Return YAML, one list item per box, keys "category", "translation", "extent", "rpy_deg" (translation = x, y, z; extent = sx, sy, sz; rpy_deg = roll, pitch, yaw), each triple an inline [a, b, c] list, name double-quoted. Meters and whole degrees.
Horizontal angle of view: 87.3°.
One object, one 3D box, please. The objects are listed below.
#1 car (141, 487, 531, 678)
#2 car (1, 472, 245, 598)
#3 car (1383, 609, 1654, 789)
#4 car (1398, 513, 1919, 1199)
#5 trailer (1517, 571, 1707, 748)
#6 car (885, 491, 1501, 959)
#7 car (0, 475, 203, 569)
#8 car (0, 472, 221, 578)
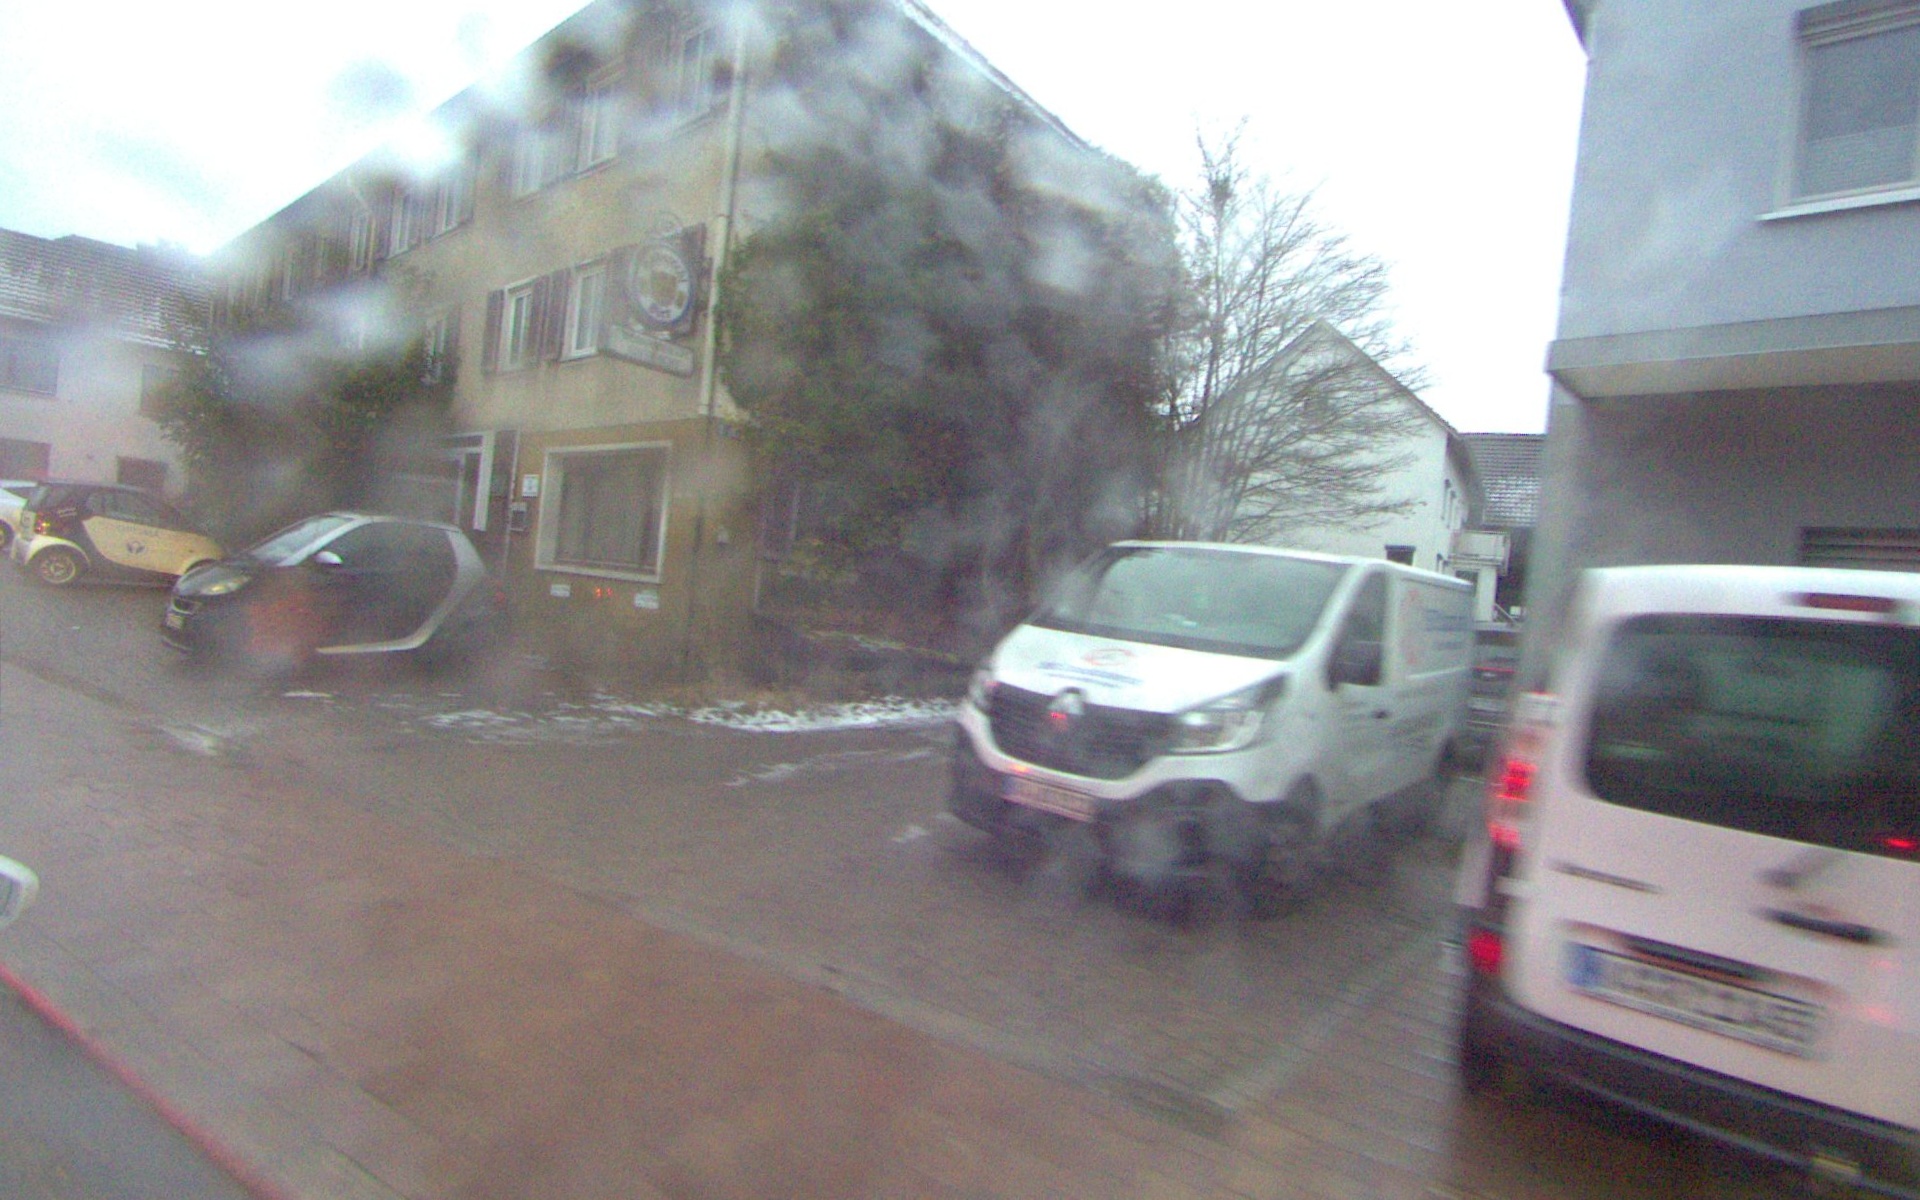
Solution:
- category: "car"
  translation: [-5.791, -0.106, 9.523]
  extent: [1.406, 1.493, 2.759]
  rpy_deg: [7, 1, 39]
- category: "car"
  translation: [-12.832, -0.960, 15.492]
  extent: [1.528, 1.567, 2.579]
  rpy_deg: [8, 2, 39]
- category: "car"
  translation: [6.854, 1.071, 12.153]
  extent: [1.855, 1.644, 3.975]
  rpy_deg: [7, 3, 42]
- category: "car"
  translation: [3.235, 0.851, 4.044]
  extent: [1.834, 1.867, 4.041]
  rpy_deg: [7, 2, 34]
- category: "trailer"
  translation: [11.117, 0.900, 17.048]
  extent: [1.815, 2.553, 3.972]
  rpy_deg: [7, 4, 43]
- category: "car"
  translation: [1.965, 0.591, 6.767]
  extent: [1.908, 1.914, 4.973]
  rpy_deg: [8, 2, 38]
- category: "car"
  translation: [-17.724, -1.583, 20.060]
  extent: [1.726, 1.493, 3.891]
  rpy_deg: [7, 1, 42]
- category: "car"
  translation: [-15.316, -1.313, 18.004]
  extent: [1.528, 1.493, 3.058]
  rpy_deg: [7, 2, 42]
